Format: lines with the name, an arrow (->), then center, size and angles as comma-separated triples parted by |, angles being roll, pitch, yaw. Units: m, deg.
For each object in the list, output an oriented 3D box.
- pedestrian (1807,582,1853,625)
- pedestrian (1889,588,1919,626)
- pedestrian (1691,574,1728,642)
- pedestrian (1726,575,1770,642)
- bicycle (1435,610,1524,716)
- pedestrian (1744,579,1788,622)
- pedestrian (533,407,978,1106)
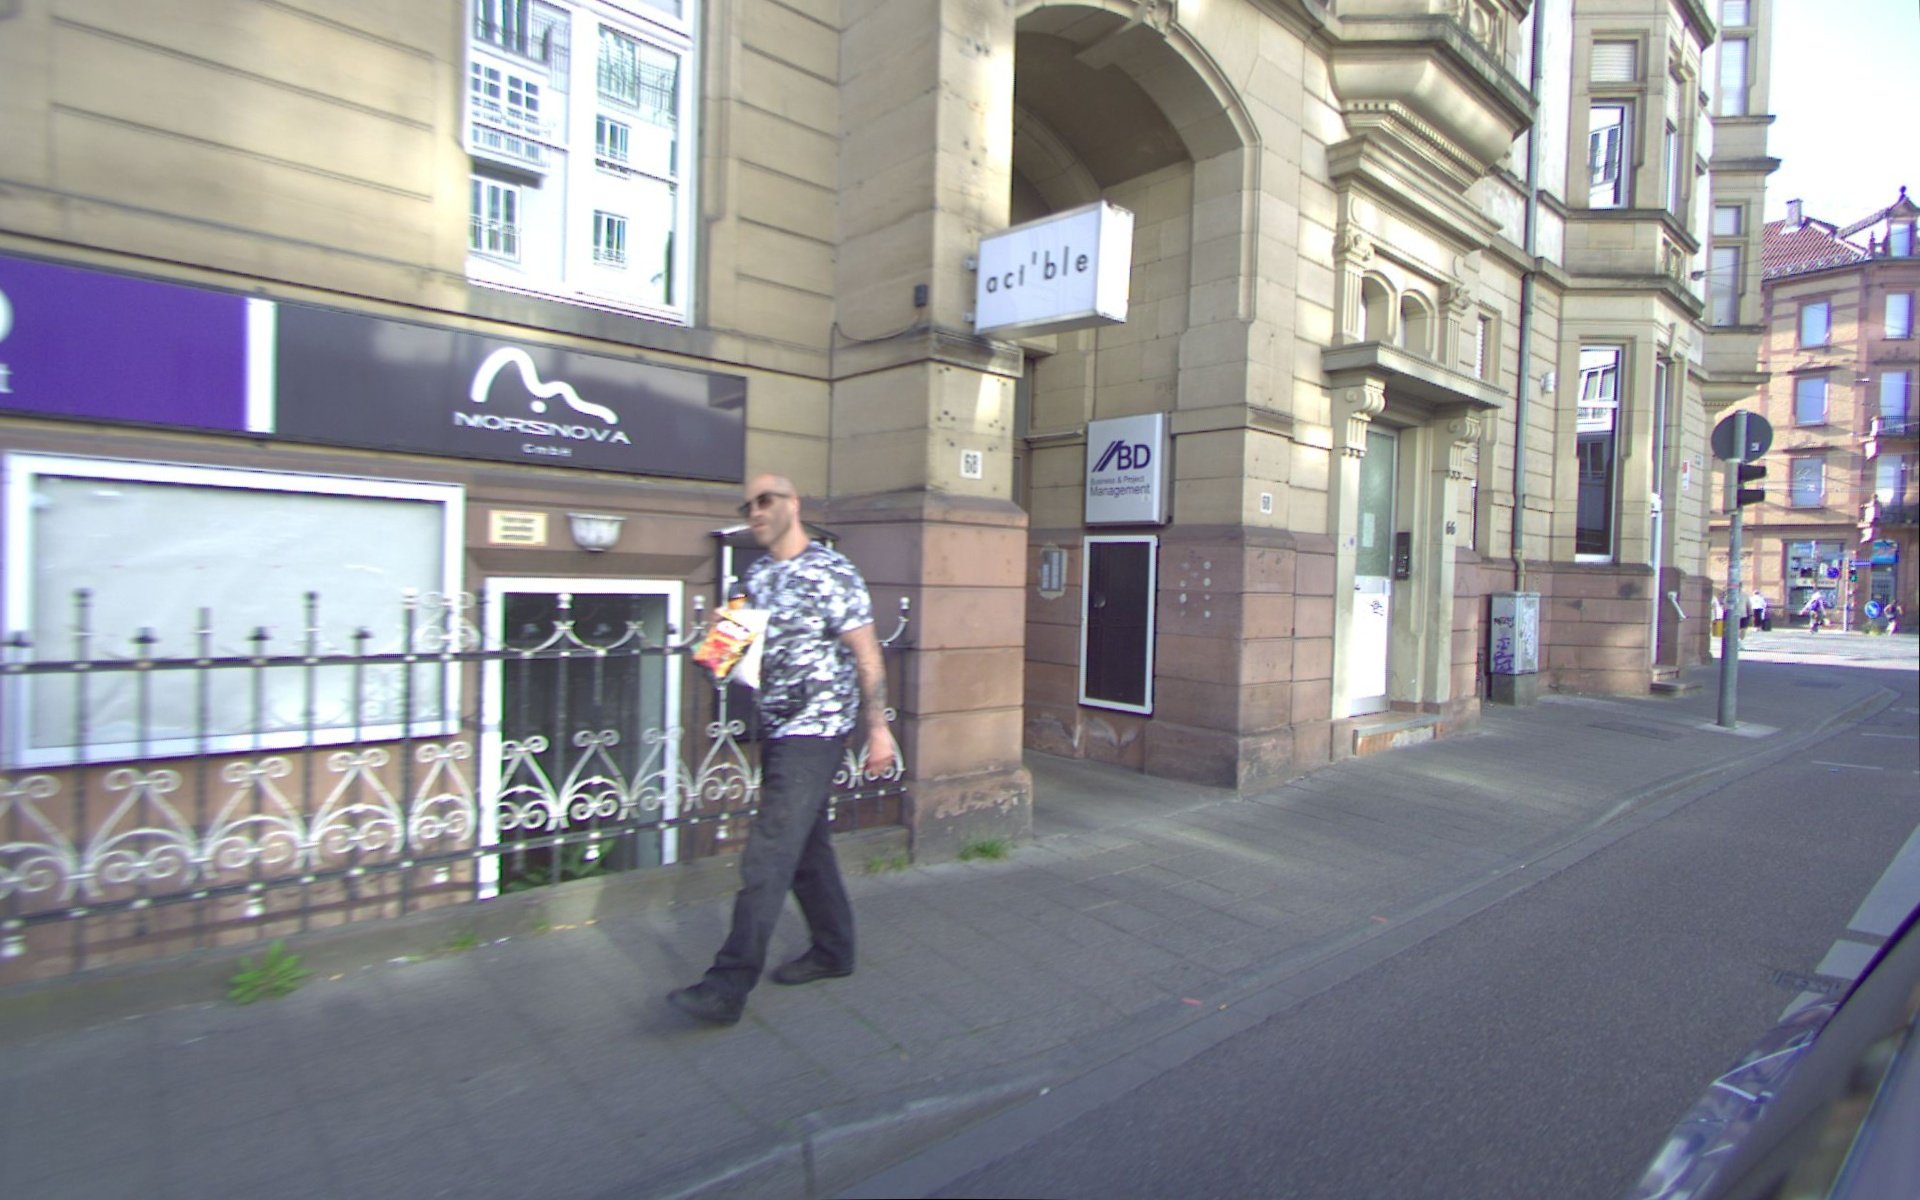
pedestrian -> 33.993, 0.127, 39.562 | 0.906, 1.652, 0.944 | 1, 2, -9
pedestrian -> 39.574, 0.294, 42.270 | 0.922, 1.556, 0.636 | 1, 2, -9
pedestrian -> 19.819, 0.206, 26.768 | 0.693, 1.767, 0.644 | -1, 1, -42
pedestrian -> 20.366, 0.201, 26.156 | 0.620, 1.675, 0.702 | -1, 3, -38
bicycle -> 5.819, 0.667, 11.300 | 1.738, 1.065, 0.256 | -1, 1, -41
pedestrian -> 32.615, 0.015, 40.960 | 0.907, 1.652, 1.010 | 1, 2, -1
pedestrian -> -0.633, 0.397, 3.224 | 1.075, 1.772, 0.781 | 3, 0, -43
